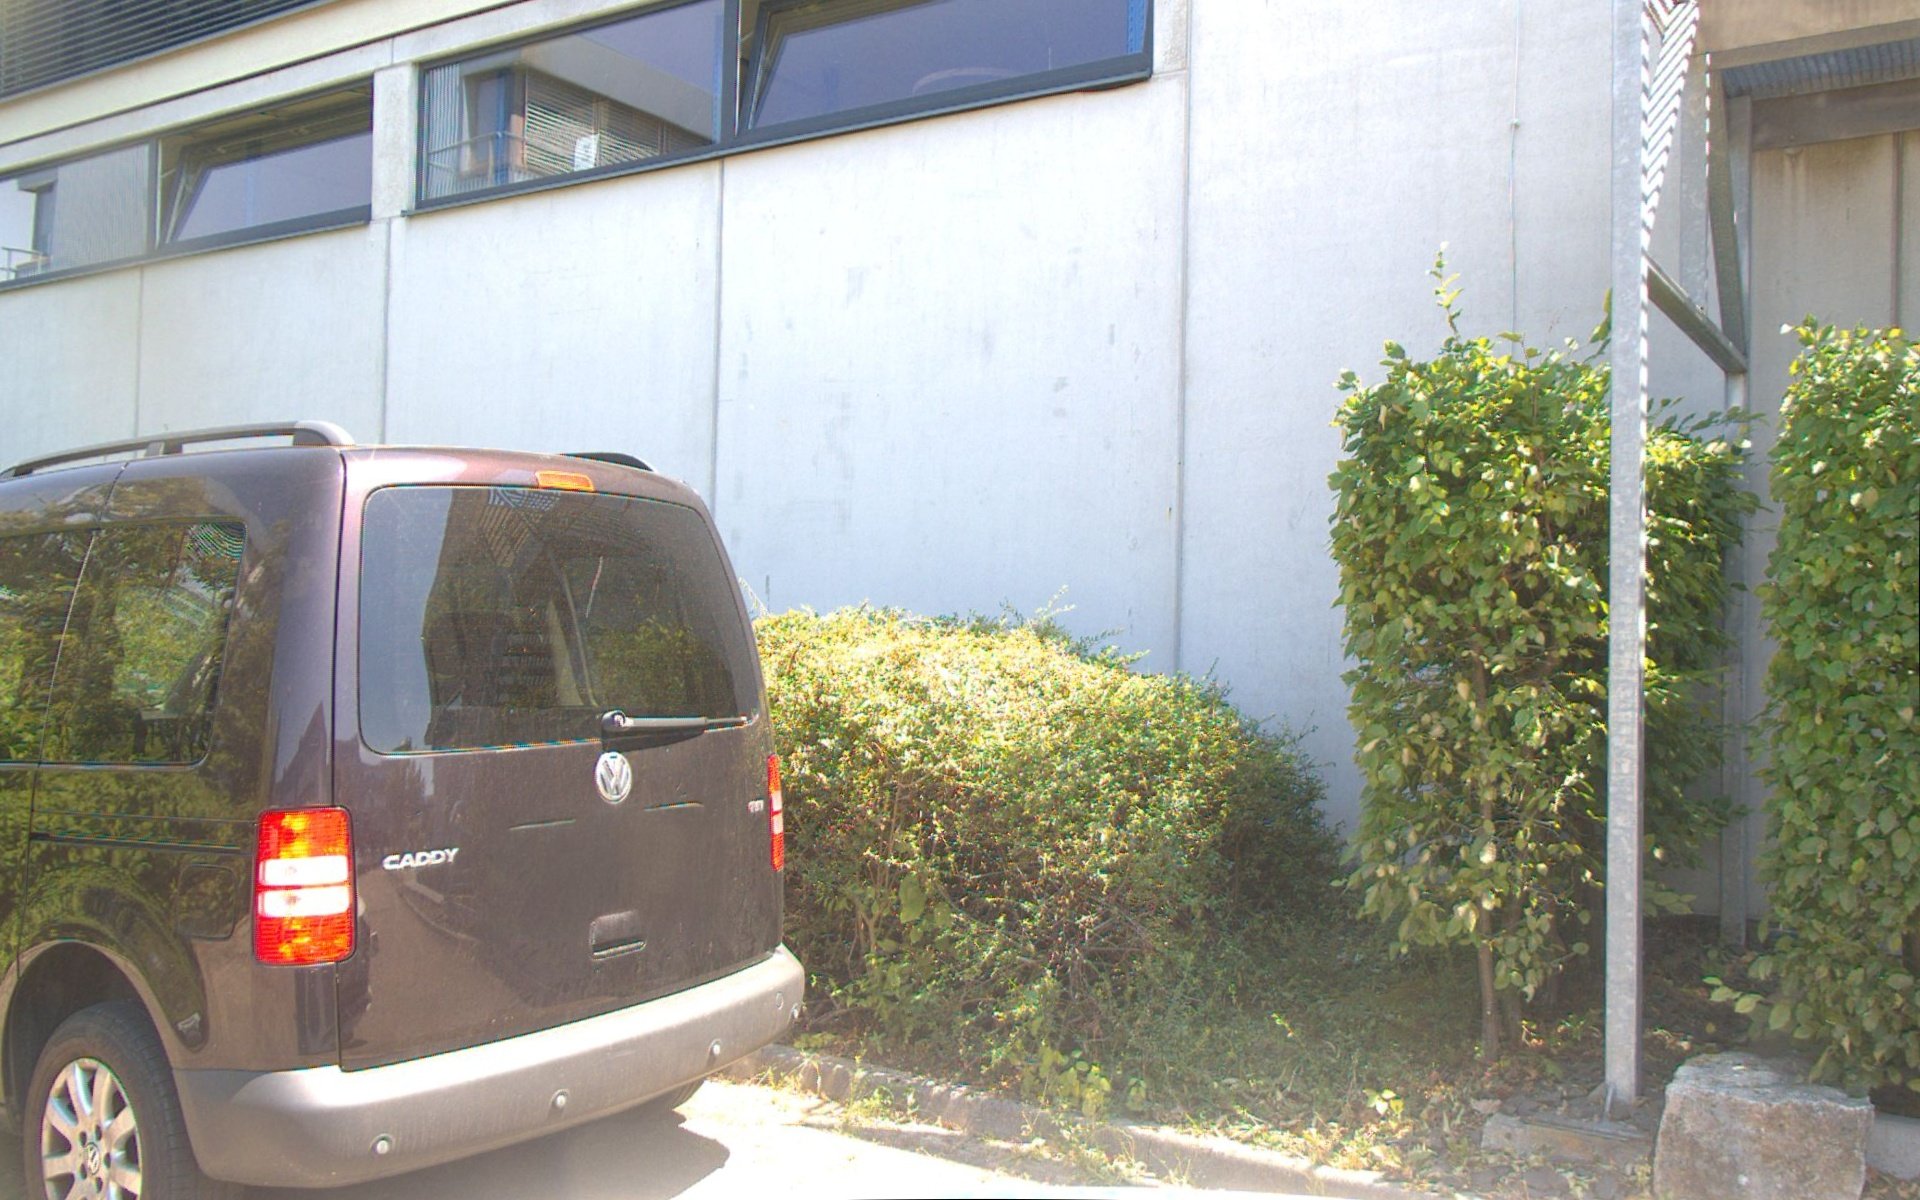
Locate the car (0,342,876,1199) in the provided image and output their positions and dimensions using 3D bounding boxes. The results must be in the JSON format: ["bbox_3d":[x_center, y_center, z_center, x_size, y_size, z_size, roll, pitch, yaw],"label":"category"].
[{"bbox_3d":[-2.337,0.480,4.816,3.987,1.917,1.673,0,0,34],"label":"car"}]
